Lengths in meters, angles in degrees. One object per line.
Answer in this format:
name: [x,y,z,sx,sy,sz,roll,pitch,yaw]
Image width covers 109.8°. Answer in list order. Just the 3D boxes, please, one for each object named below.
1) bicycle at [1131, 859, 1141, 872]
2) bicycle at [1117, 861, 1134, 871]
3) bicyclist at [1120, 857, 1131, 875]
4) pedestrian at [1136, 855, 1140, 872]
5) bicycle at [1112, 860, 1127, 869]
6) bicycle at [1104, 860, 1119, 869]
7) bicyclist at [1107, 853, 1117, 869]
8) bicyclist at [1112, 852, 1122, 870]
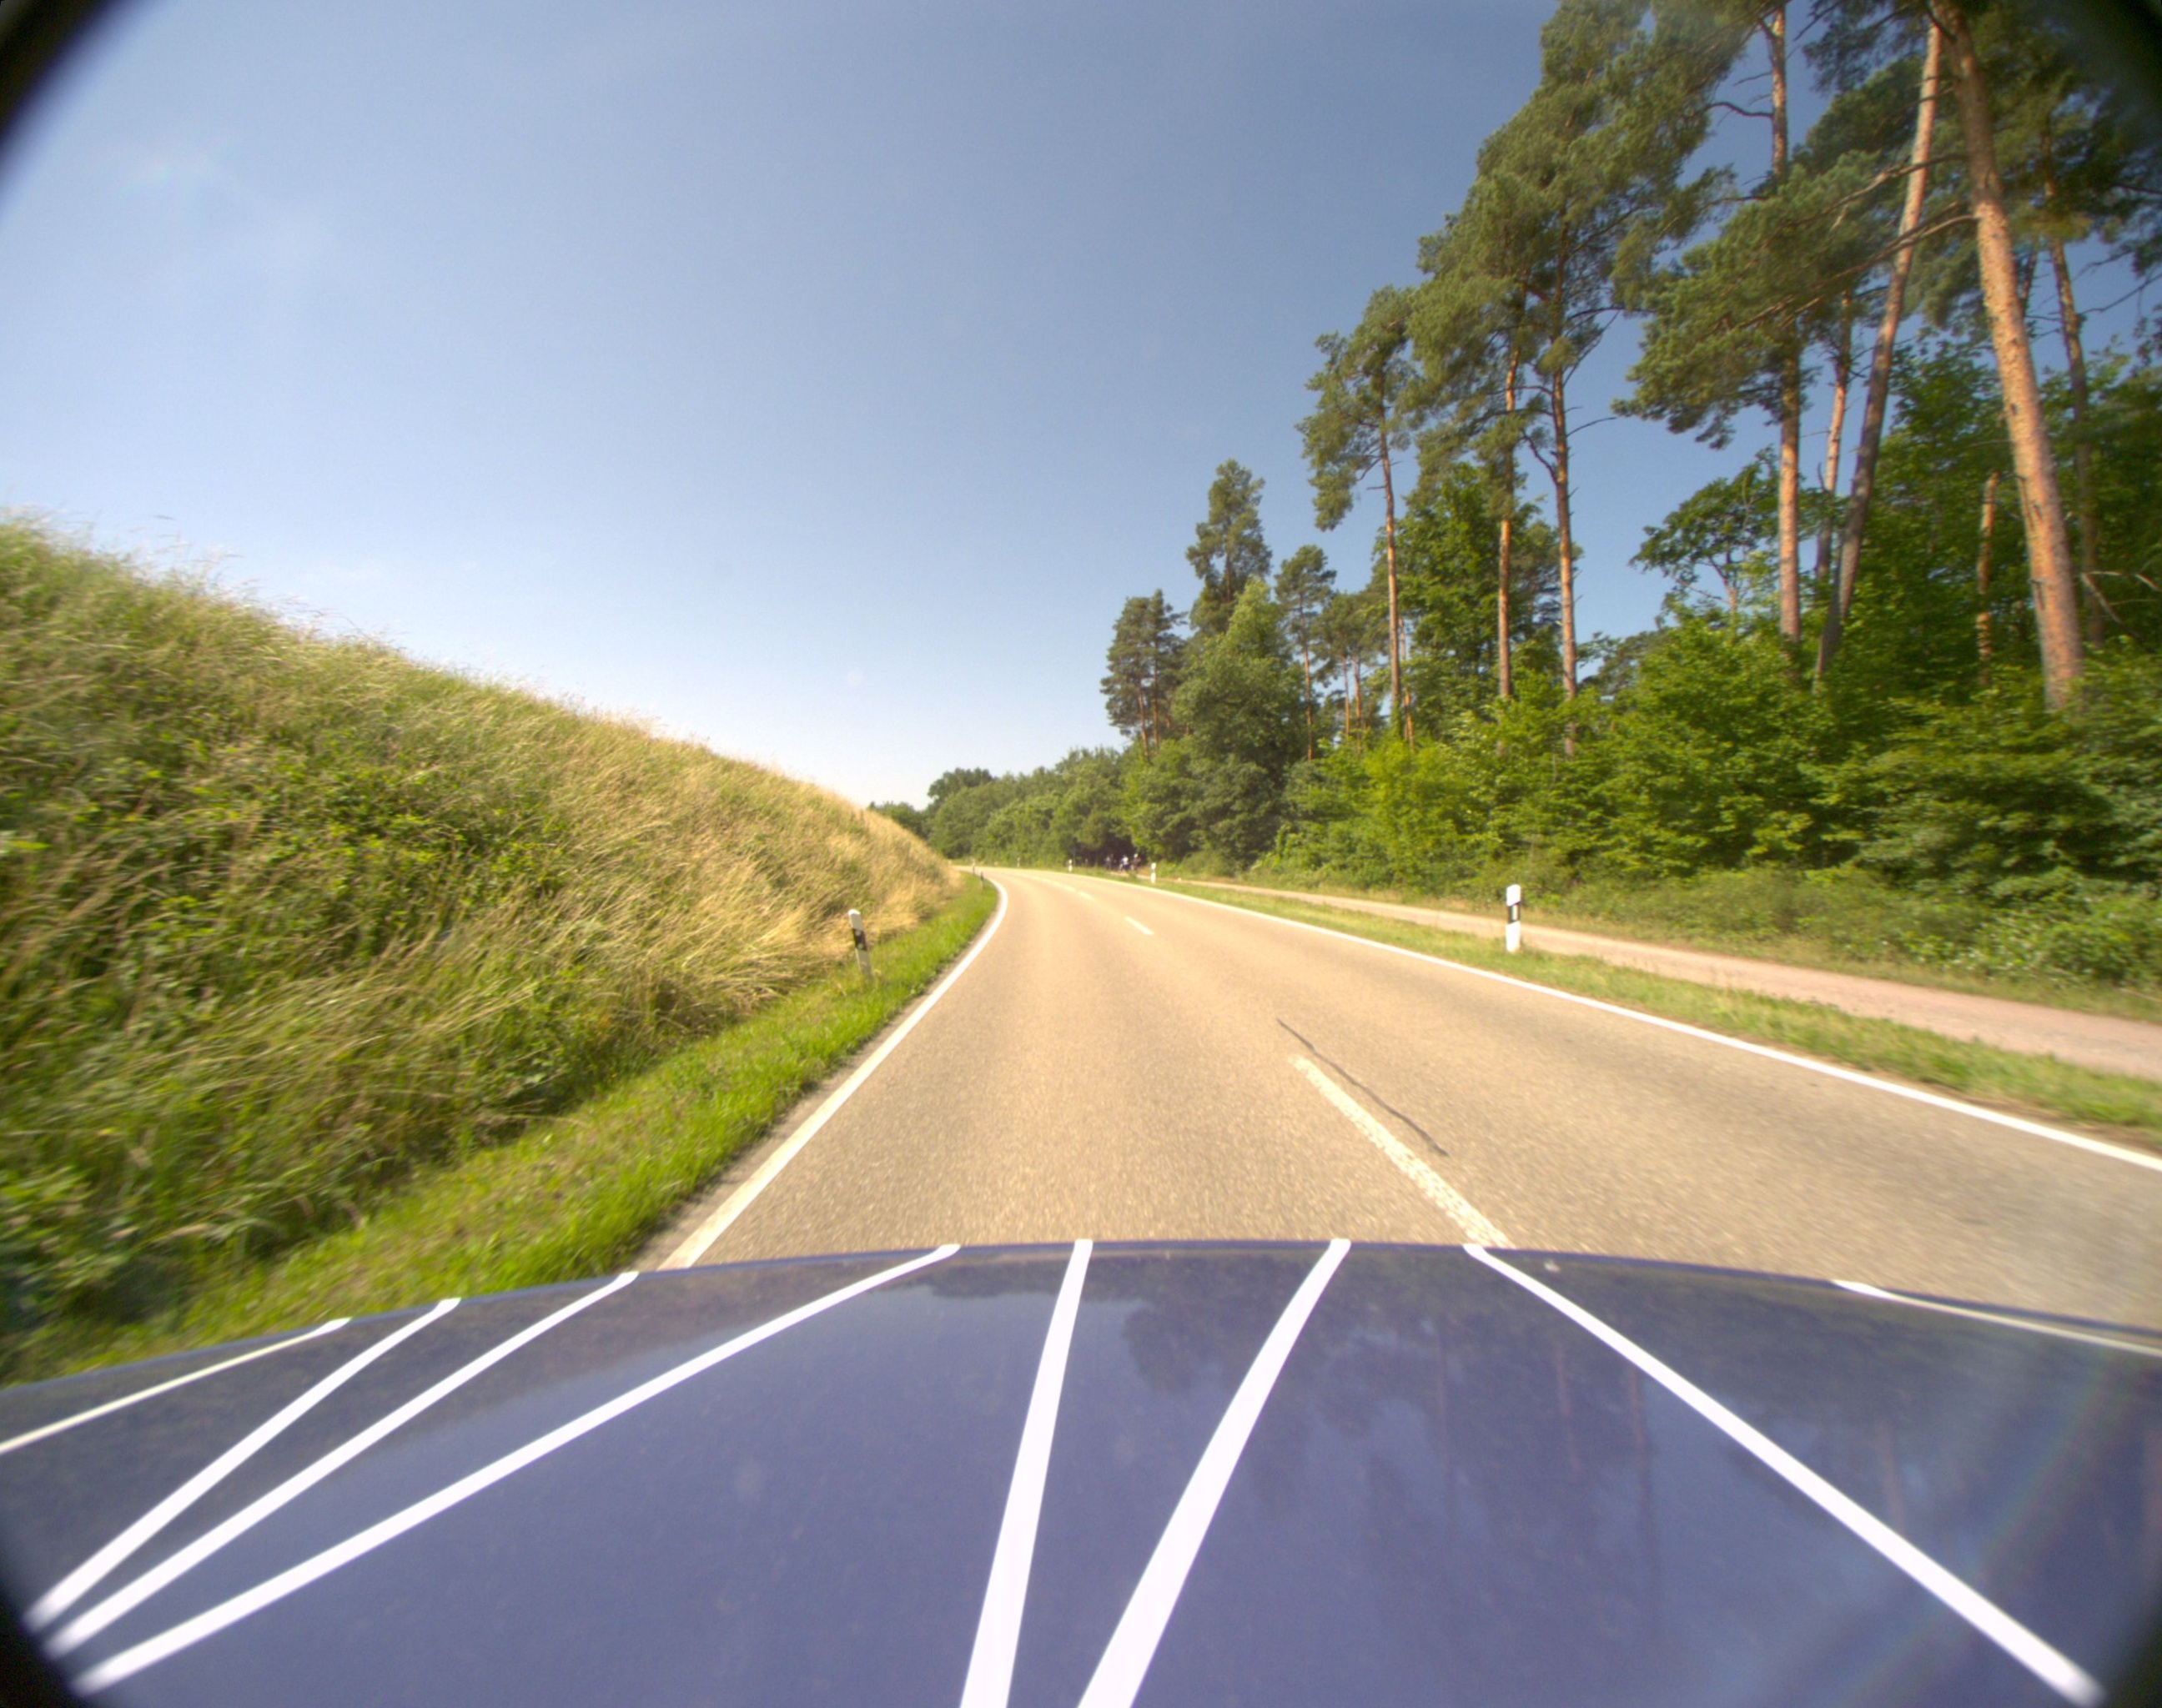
bicycle: [4.822,1.037,66.725,0.581,1.080,1.449,-3,-1,15]
bicycle: [4.209,1.154,71.411,0.604,0.825,1.989,-1,2,37]
bicyclist: [4.217,1.111,71.433,0.604,1.709,0.791,-1,3,37]
pedestrian: [5.003,0.832,66.675,0.285,1.529,0.390,-1,1,-19]
bicycle: [3.797,1.026,75.371,0.604,0.825,1.988,-1,2,30]
bicycle: [3.081,1.061,76.130,0.604,0.825,1.988,-1,2,30]
bicyclist: [3.082,0.740,76.127,0.604,1.537,0.873,-1,2,30]
bicyclist: [3.516,0.676,74.890,0.604,1.691,0.852,-1,2,30]
